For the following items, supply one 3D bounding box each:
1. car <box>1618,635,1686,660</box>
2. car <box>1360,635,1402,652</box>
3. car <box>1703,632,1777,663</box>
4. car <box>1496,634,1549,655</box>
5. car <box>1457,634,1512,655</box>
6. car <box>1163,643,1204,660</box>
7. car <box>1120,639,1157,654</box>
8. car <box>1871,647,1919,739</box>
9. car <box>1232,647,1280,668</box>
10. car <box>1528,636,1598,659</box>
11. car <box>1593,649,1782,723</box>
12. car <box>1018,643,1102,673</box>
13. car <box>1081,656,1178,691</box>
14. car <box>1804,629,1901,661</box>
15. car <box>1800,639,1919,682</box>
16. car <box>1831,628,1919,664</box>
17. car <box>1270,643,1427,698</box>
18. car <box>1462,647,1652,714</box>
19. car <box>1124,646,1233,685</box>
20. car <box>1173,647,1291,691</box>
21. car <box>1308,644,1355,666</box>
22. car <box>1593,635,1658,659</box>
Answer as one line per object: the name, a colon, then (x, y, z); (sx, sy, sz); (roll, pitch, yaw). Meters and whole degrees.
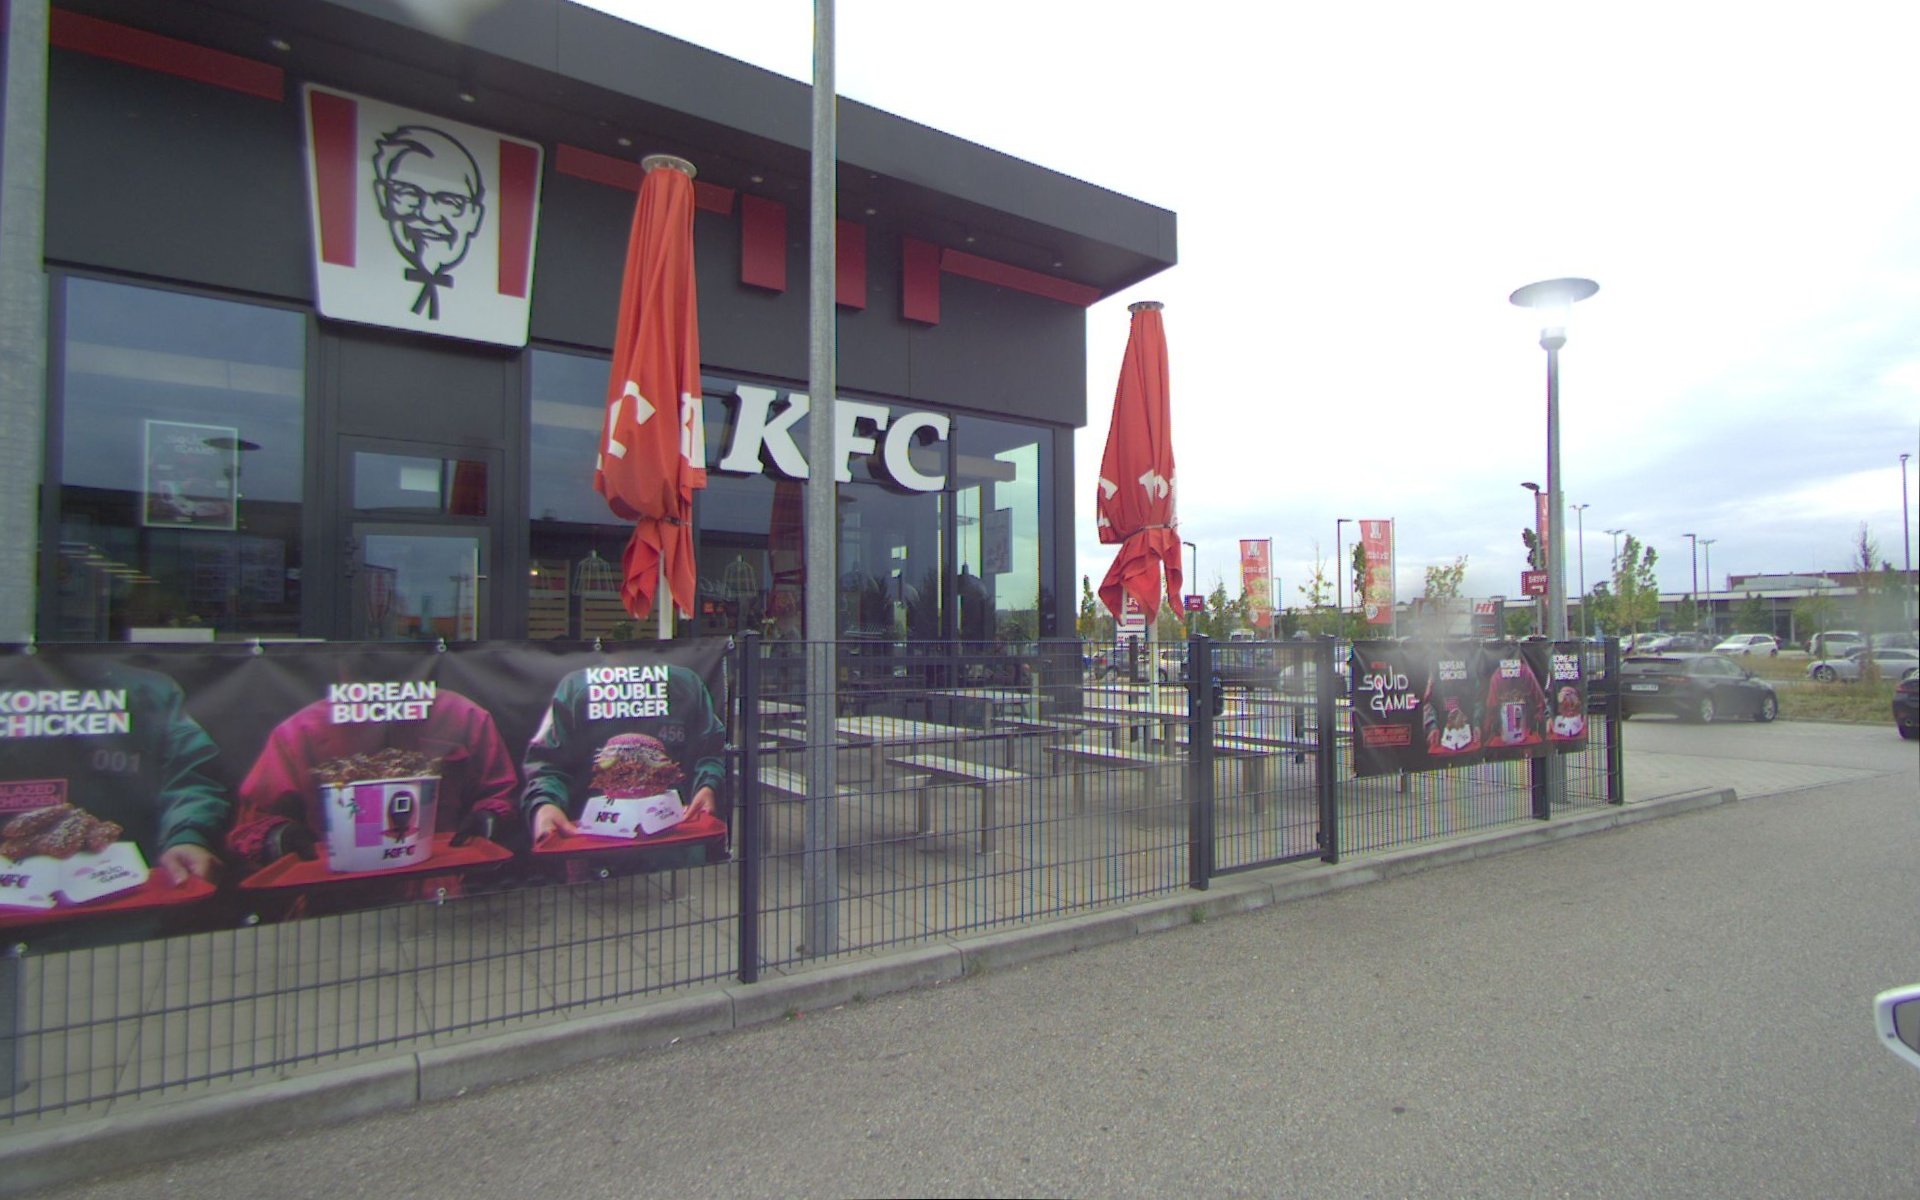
car: (46.874, 3.178, 68.071); (3.992, 1.560, 1.765); (-1, -2, -19)
car: (49.462, 5.126, 117.989); (1.979, 1.862, 4.148); (0, -2, -33)
car: (48.672, 2.942, 62.678); (4.265, 1.795, 1.987); (-1, -2, -27)
car: (44.841, 3.557, 80.112); (3.708, 1.560, 1.763); (-1, -2, -22)
car: (43.848, 3.720, 84.004); (3.995, 1.560, 1.990); (-1, -2, -22)
car: (19.789, 4.537, 88.931); (1.825, 1.519, 4.273); (0, -2, -14)
car: (17.188, 4.486, 96.839); (1.740, 1.413, 4.204); (1, -2, -17)
car: (17.834, 1.630, 17.295); (4.464, 1.485, 1.932); (3, -3, -30)
car: (22.502, 4.331, 76.550); (1.798, 1.479, 3.992); (-1, -2, -12)
car: (44.766, 3.516, 74.623); (4.085, 1.560, 1.997); (-1, -2, -10)
car: (15.768, 1.852, 21.749); (4.023, 1.430, 1.874); (3, -3, -30)
car: (5.413, 3.134, 54.480); (4.143, 1.564, 1.860); (1, -2, -13)
car: (7.562, 3.274, 44.955); (3.934, 1.447, 1.722); (2, -2, -15)
car: (54.131, 2.704, 61.020); (1.964, 1.795, 3.993); (-1, -2, -11)
car: (36.383, 2.365, 39.478); (1.778, 1.572, 4.824); (-1, -2, -25)
car: (50.667, 2.518, 55.546); (4.254, 1.795, 1.923); (-1, -2, -19)
car: (11.986, 2.185, 30.984); (4.482, 1.561, 1.915); (3, -3, -23)
car: (14.628, 1.974, 24.561); (4.685, 1.475, 1.897); (3, -3, -29)
car: (8.765, 2.616, 40.403); (3.877, 1.430, 1.833); (3, -3, -18)
car: (9.607, 2.452, 35.546); (3.752, 1.430, 1.730); (3, -3, -21)
car: (26.291, 3.877, 71.161); (1.408, 1.388, 3.451); (-1, -2, -14)
car: (46.659, 3.259, 70.433); (3.992, 1.560, 1.765); (-1, -2, -19)
